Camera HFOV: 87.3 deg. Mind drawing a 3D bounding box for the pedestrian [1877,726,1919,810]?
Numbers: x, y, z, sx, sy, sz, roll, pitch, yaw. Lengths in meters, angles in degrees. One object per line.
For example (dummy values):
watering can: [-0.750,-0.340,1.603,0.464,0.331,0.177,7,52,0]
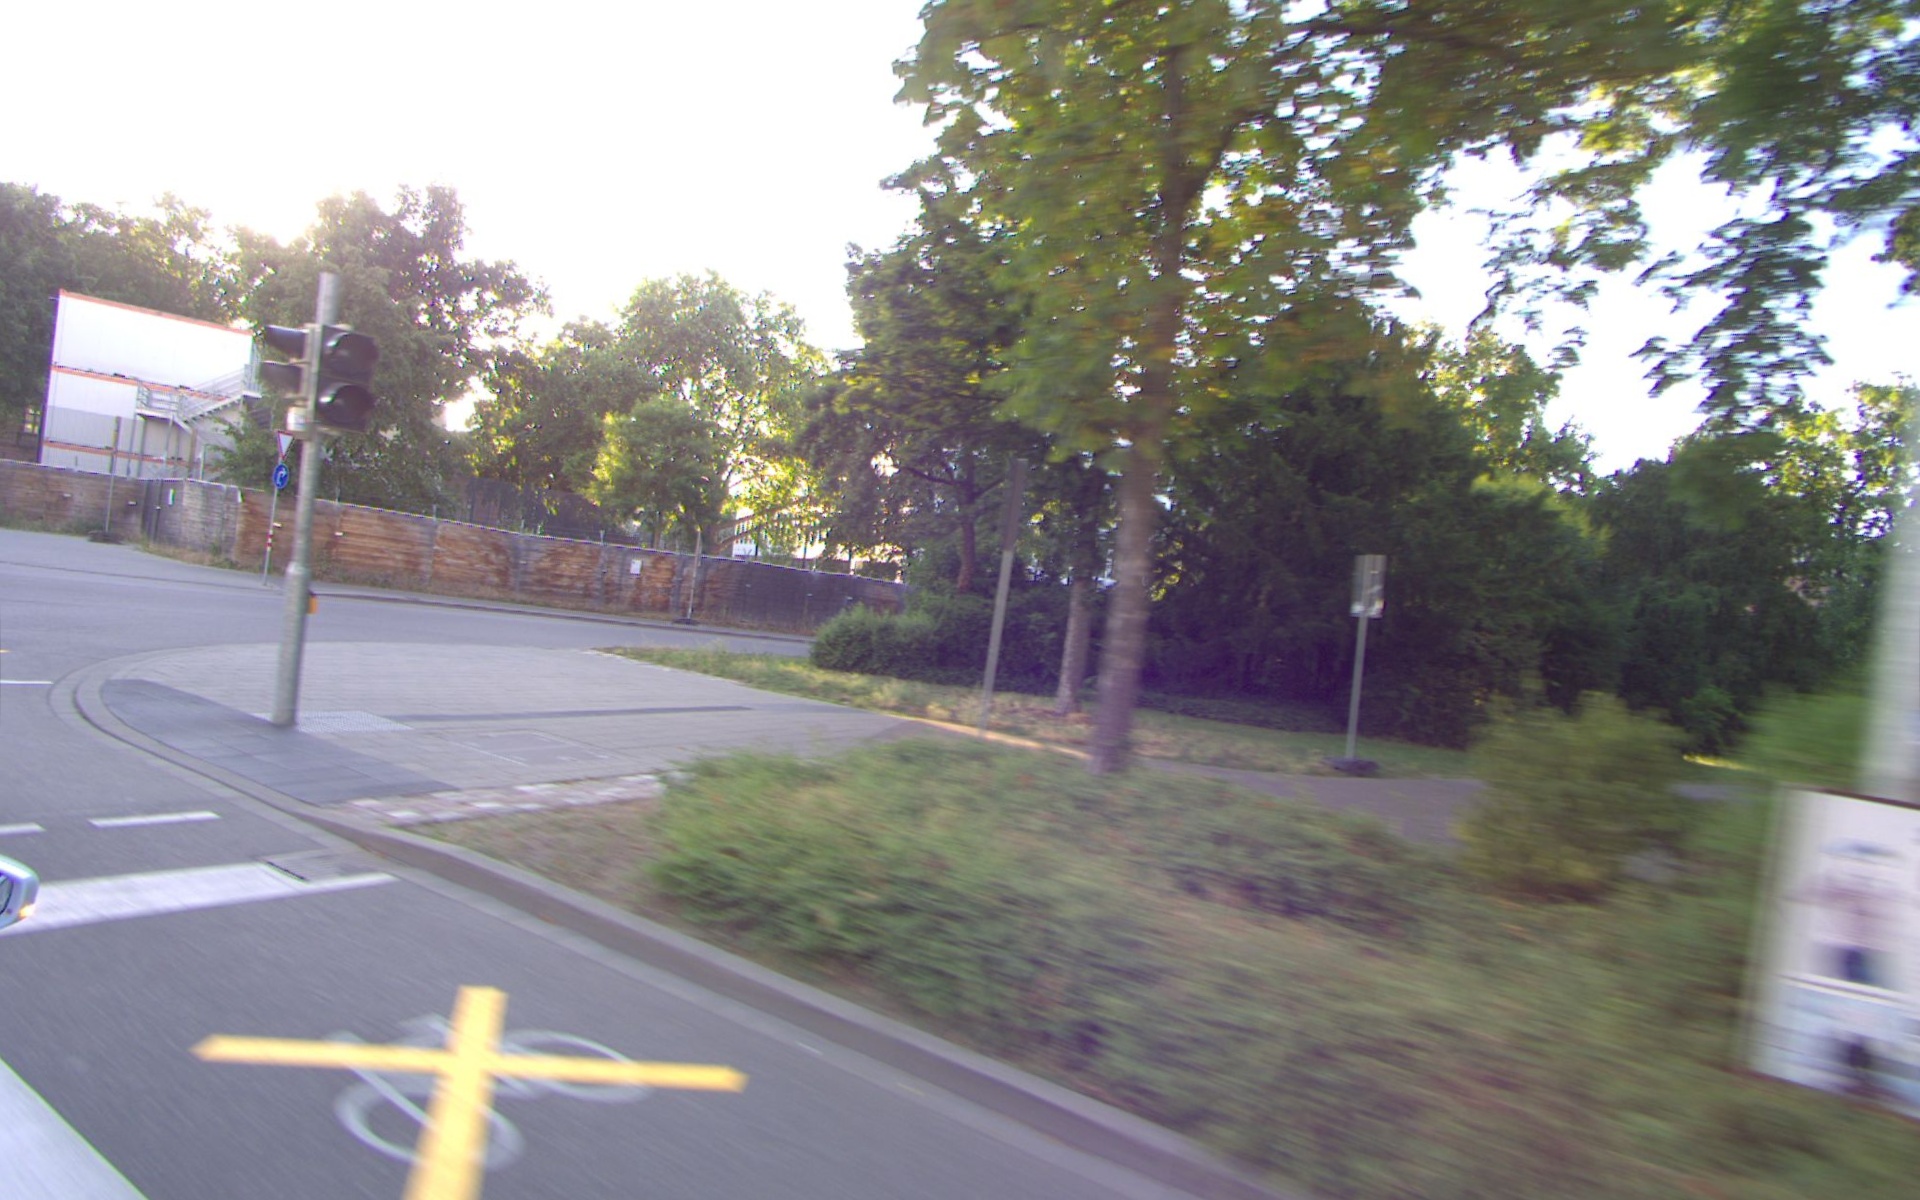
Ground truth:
pedestrian: [20.719,3.649,21.730,0.807,1.646,0.830,7,6,-28]
